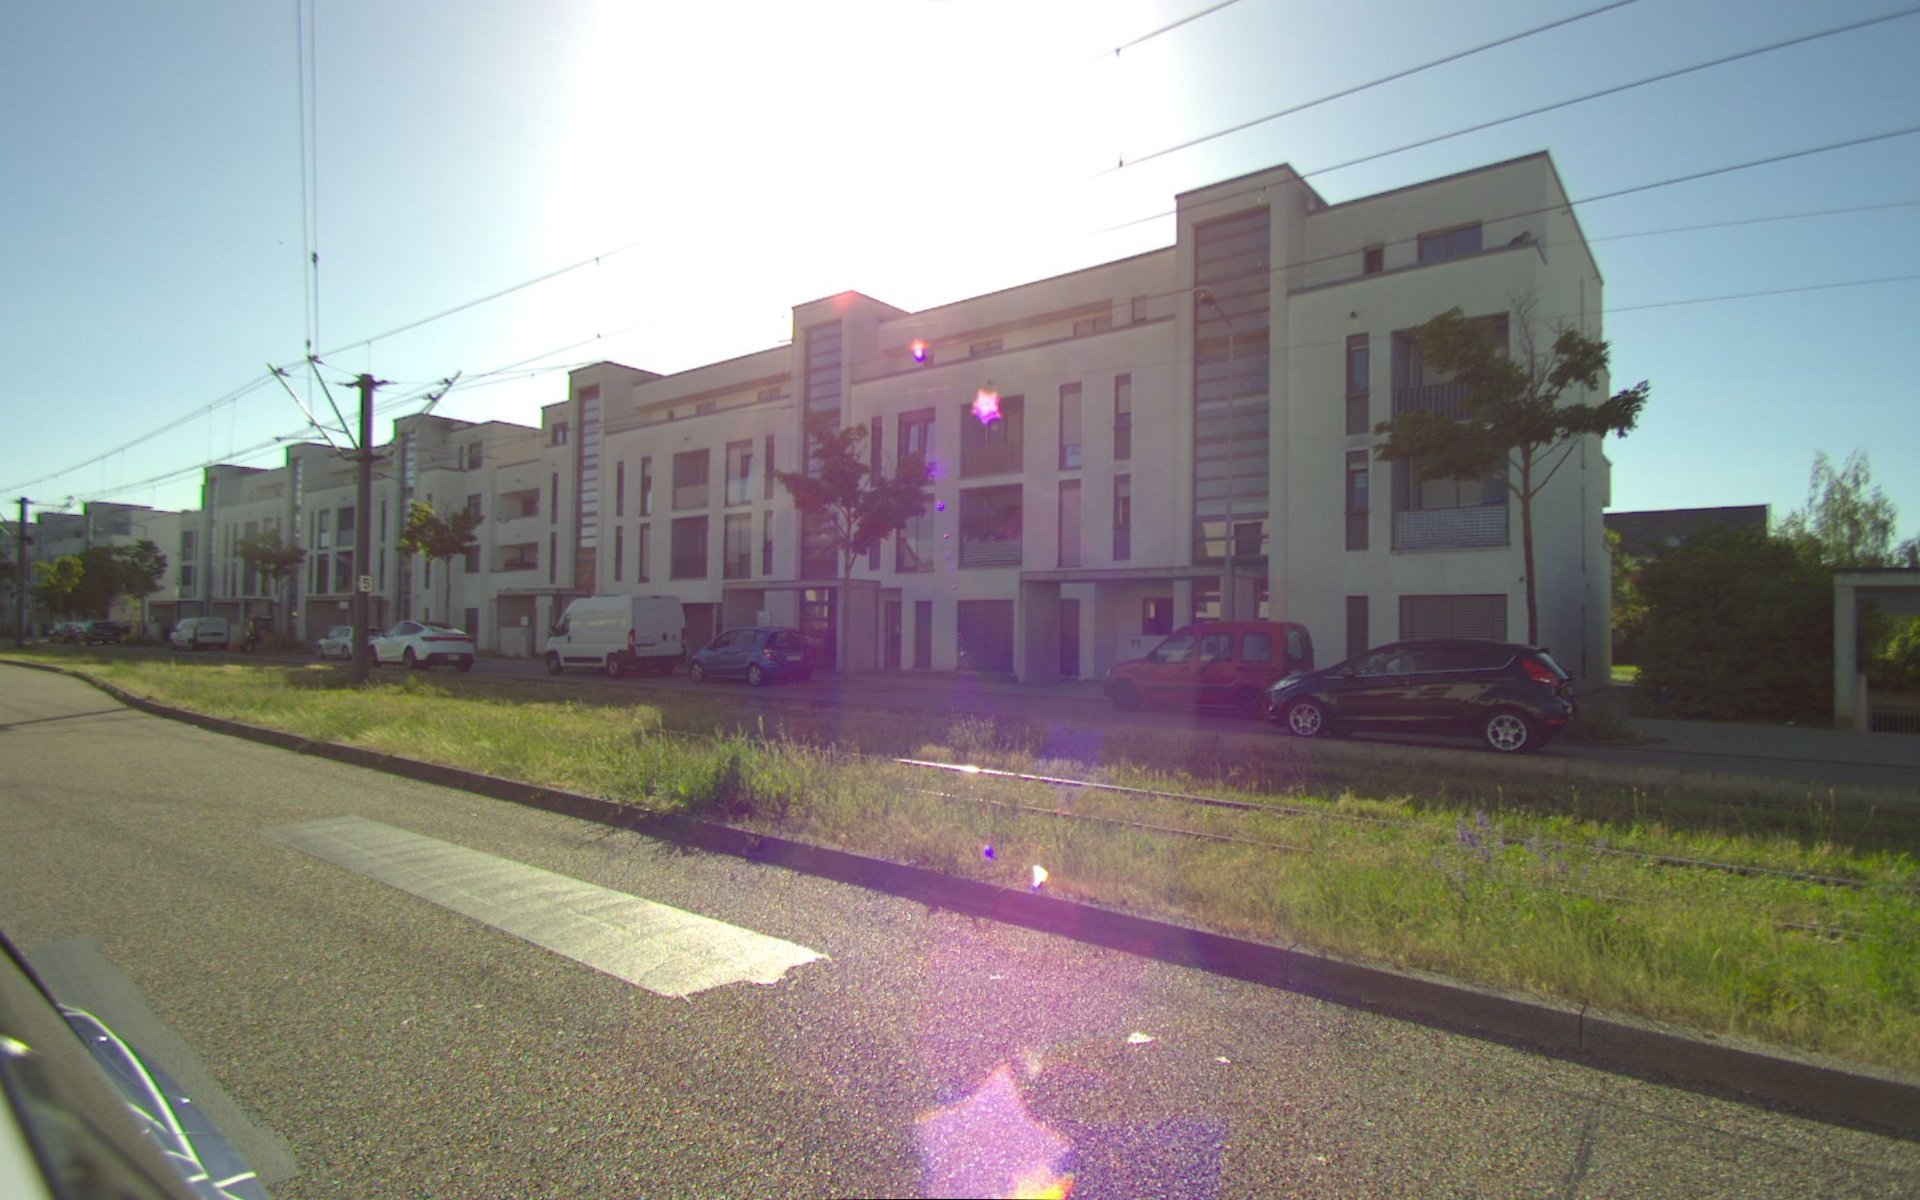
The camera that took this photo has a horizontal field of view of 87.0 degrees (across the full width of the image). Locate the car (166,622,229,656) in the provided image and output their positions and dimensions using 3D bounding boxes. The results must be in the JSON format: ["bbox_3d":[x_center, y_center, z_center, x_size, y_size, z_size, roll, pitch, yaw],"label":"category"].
[{"bbox_3d":[-43.281,2.191,57.402,4.149,1.884,1.745,-1,-1,36],"label":"car"}]

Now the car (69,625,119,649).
[{"bbox_3d":[-59.136,2.501,69.093,4.149,1.611,1.745,-1,-1,36],"label":"car"}]

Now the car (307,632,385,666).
[{"bbox_3d":[-27.232,2.133,44.846,4.149,1.443,1.503,-1,-1,36],"label":"car"}]

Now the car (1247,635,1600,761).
[{"bbox_3d":[6.129,1.226,13.650,3.998,1.429,1.769,-2,-5,41],"label":"car"}]

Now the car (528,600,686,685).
[{"bbox_3d":[-11.275,1.299,32.133,5.583,2.463,2.119,-1,-1,39],"label":"car"}]

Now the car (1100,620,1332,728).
[{"bbox_3d":[4.776,1.303,19.136,3.835,1.809,1.861,-2,-2,41],"label":"car"}]

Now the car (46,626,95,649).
[{"bbox_3d":[-63.678,2.664,72.430,4.149,1.611,1.745,-1,-1,36],"label":"car"}]

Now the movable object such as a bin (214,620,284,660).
[{"bbox_3d":[-36.810,2.047,52.374,4.149,1.952,1.745,-1,-1,36],"label":"movable object such as a bin"}]

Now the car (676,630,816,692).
[{"bbox_3d":[-5.895,1.601,27.692,3.839,1.548,1.806,-2,-2,40],"label":"car"}]

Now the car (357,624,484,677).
[{"bbox_3d":[-17.870,1.664,33.450,4.640,1.608,1.974,-1,-5,38],"label":"car"}]
